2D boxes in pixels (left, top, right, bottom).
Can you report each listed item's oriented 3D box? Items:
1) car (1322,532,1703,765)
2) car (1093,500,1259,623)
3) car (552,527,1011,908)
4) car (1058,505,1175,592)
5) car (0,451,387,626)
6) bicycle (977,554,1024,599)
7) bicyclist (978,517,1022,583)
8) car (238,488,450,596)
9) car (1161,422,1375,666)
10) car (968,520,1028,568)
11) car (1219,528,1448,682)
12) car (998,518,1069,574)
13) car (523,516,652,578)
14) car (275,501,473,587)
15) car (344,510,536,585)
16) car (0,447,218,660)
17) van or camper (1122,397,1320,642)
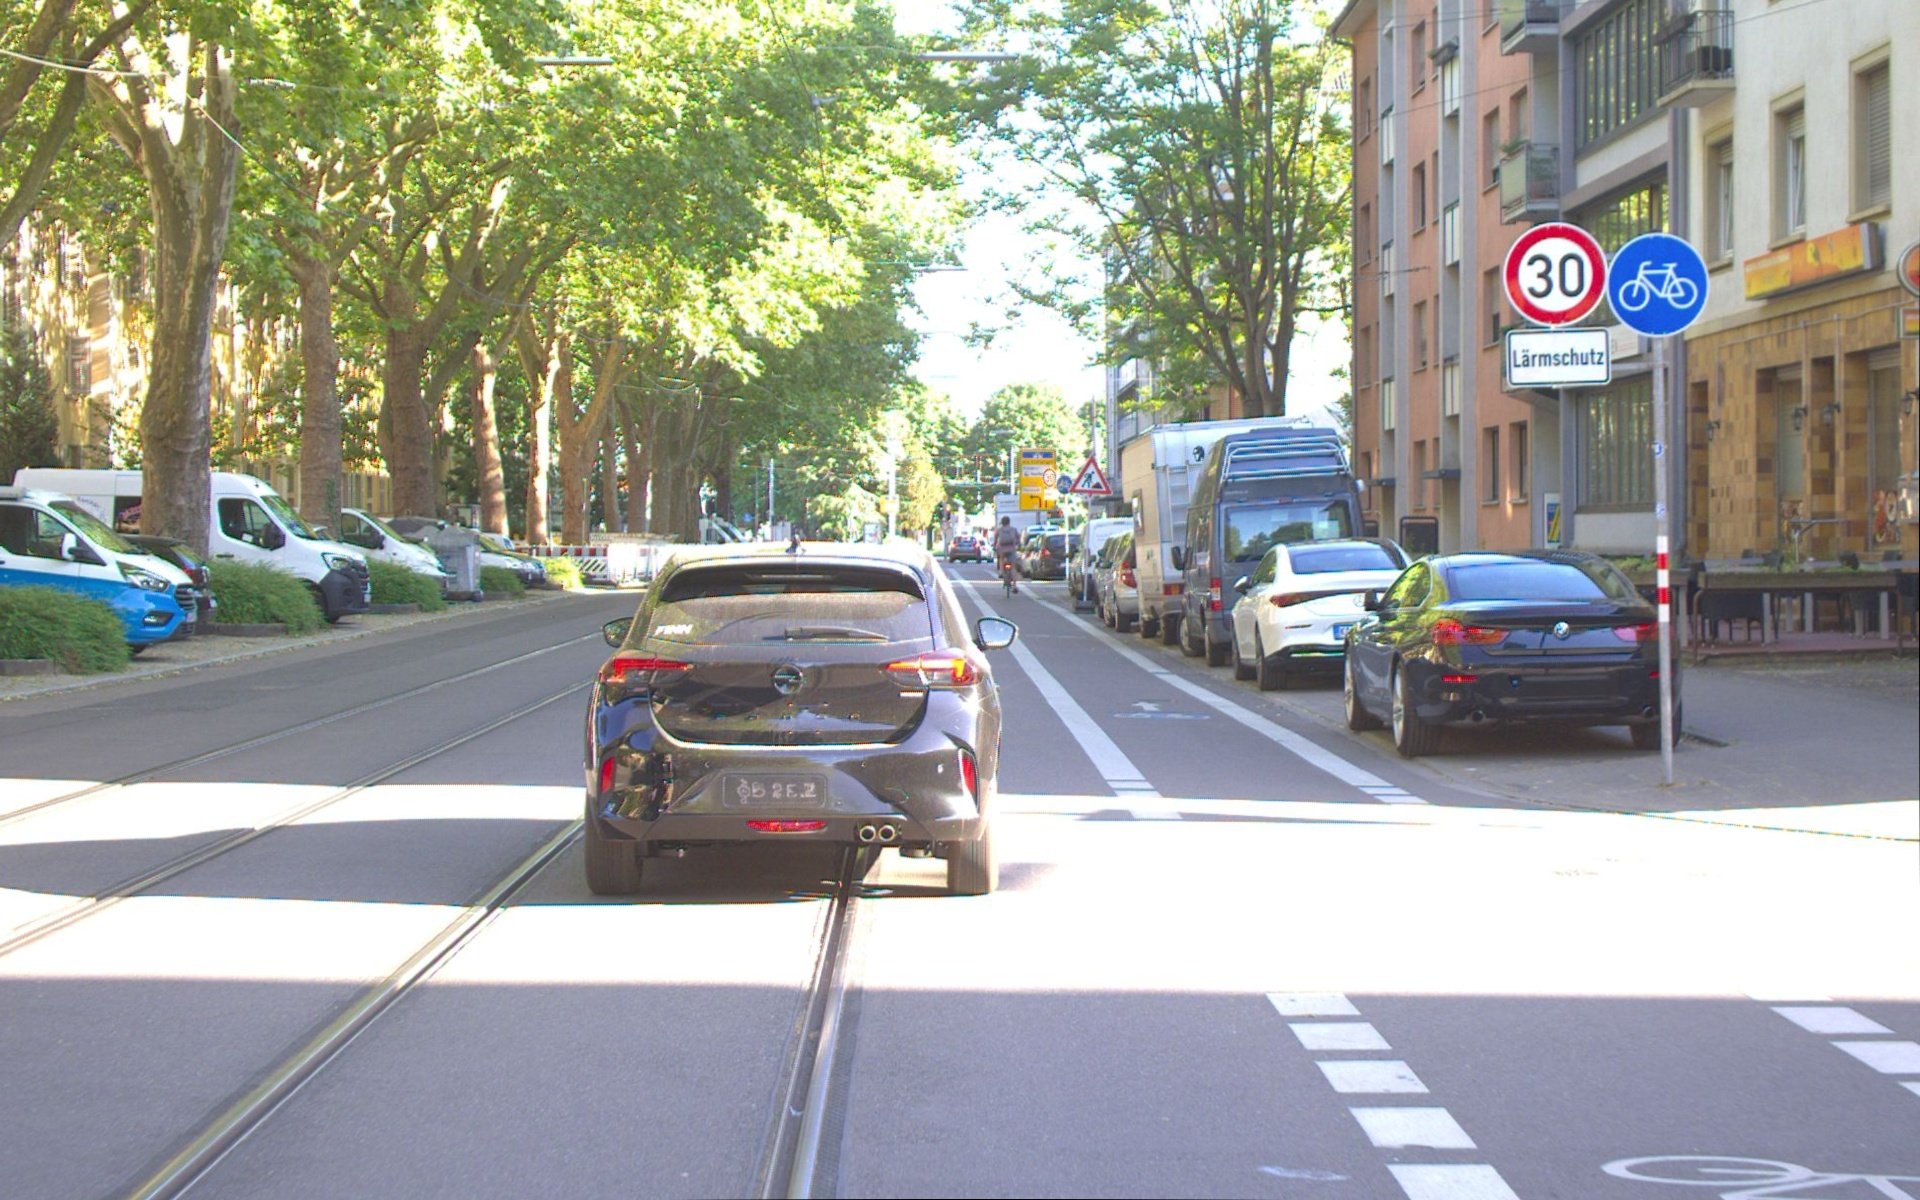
[{"bbox_3d":[3.805,0.267,24.447,1.884,1.429,4.530,-2,1,0],"label":"car"},{"bbox_3d":[3.419,-0.645,55.500,2.254,1.834,5.531,-1,1,-1],"label":"car"},{"bbox_3d":[-0.705,0.420,15.356,1.763,1.455,3.951,1,1,0],"label":"car"},{"bbox_3d":[3.440,-1.162,76.595,2.254,1.834,5.531,-1,1,-1],"label":"car"},{"bbox_3d":[-12.032,-0.970,53.830,5.639,2.584,2.196,1,1,4],"label":"car"},{"bbox_3d":[0.924,-0.554,79.646,0.968,0.995,2.583,1,1,-2],"label":"bicycle"},{"bbox_3d":[0.924,-1.159,79.615,0.958,1.493,1.094,1,1,-2],"label":"bicyclist"},{"bbox_3d":[-11.972,-1.126,66.976,3.986,2.007,2.001,1,1,-9],"label":"car"},{"bbox_3d":[3.669,-0.713,41.732,2.085,2.762,4.698,-1,2,-1],"label":"car"},{"bbox_3d":[1.506,-2.252,137.878,2.254,1.834,5.531,-1,1,-1],"label":"car"},{"bbox_3d":[3.683,0.046,34.542,1.803,1.429,4.000,-1,0,-1],"label":"car"},{"bbox_3d":[2.496,-1.865,118.546,2.254,1.834,5.531,-1,1,-1],"label":"car"},{"bbox_3d":[-12.618,-1.792,116.453,3.988,2.007,2.000,1,1,6],"label":"car"},{"bbox_3d":[-12.716,-1.216,74.723,4.175,1.787,2.001,1,1,-9],"label":"car"},{"bbox_3d":[-12.122,-1.221,80.144,4.353,1.659,2.001,1,1,-9],"label":"car"},{"bbox_3d":[-11.678,-0.477,41.121,5.036,2.366,2.081,-3,1,0],"label":"car"},{"bbox_3d":[3.583,-1.117,48.291,2.254,3.205,5.531,-1,1,-1],"label":"van or camper"}]
